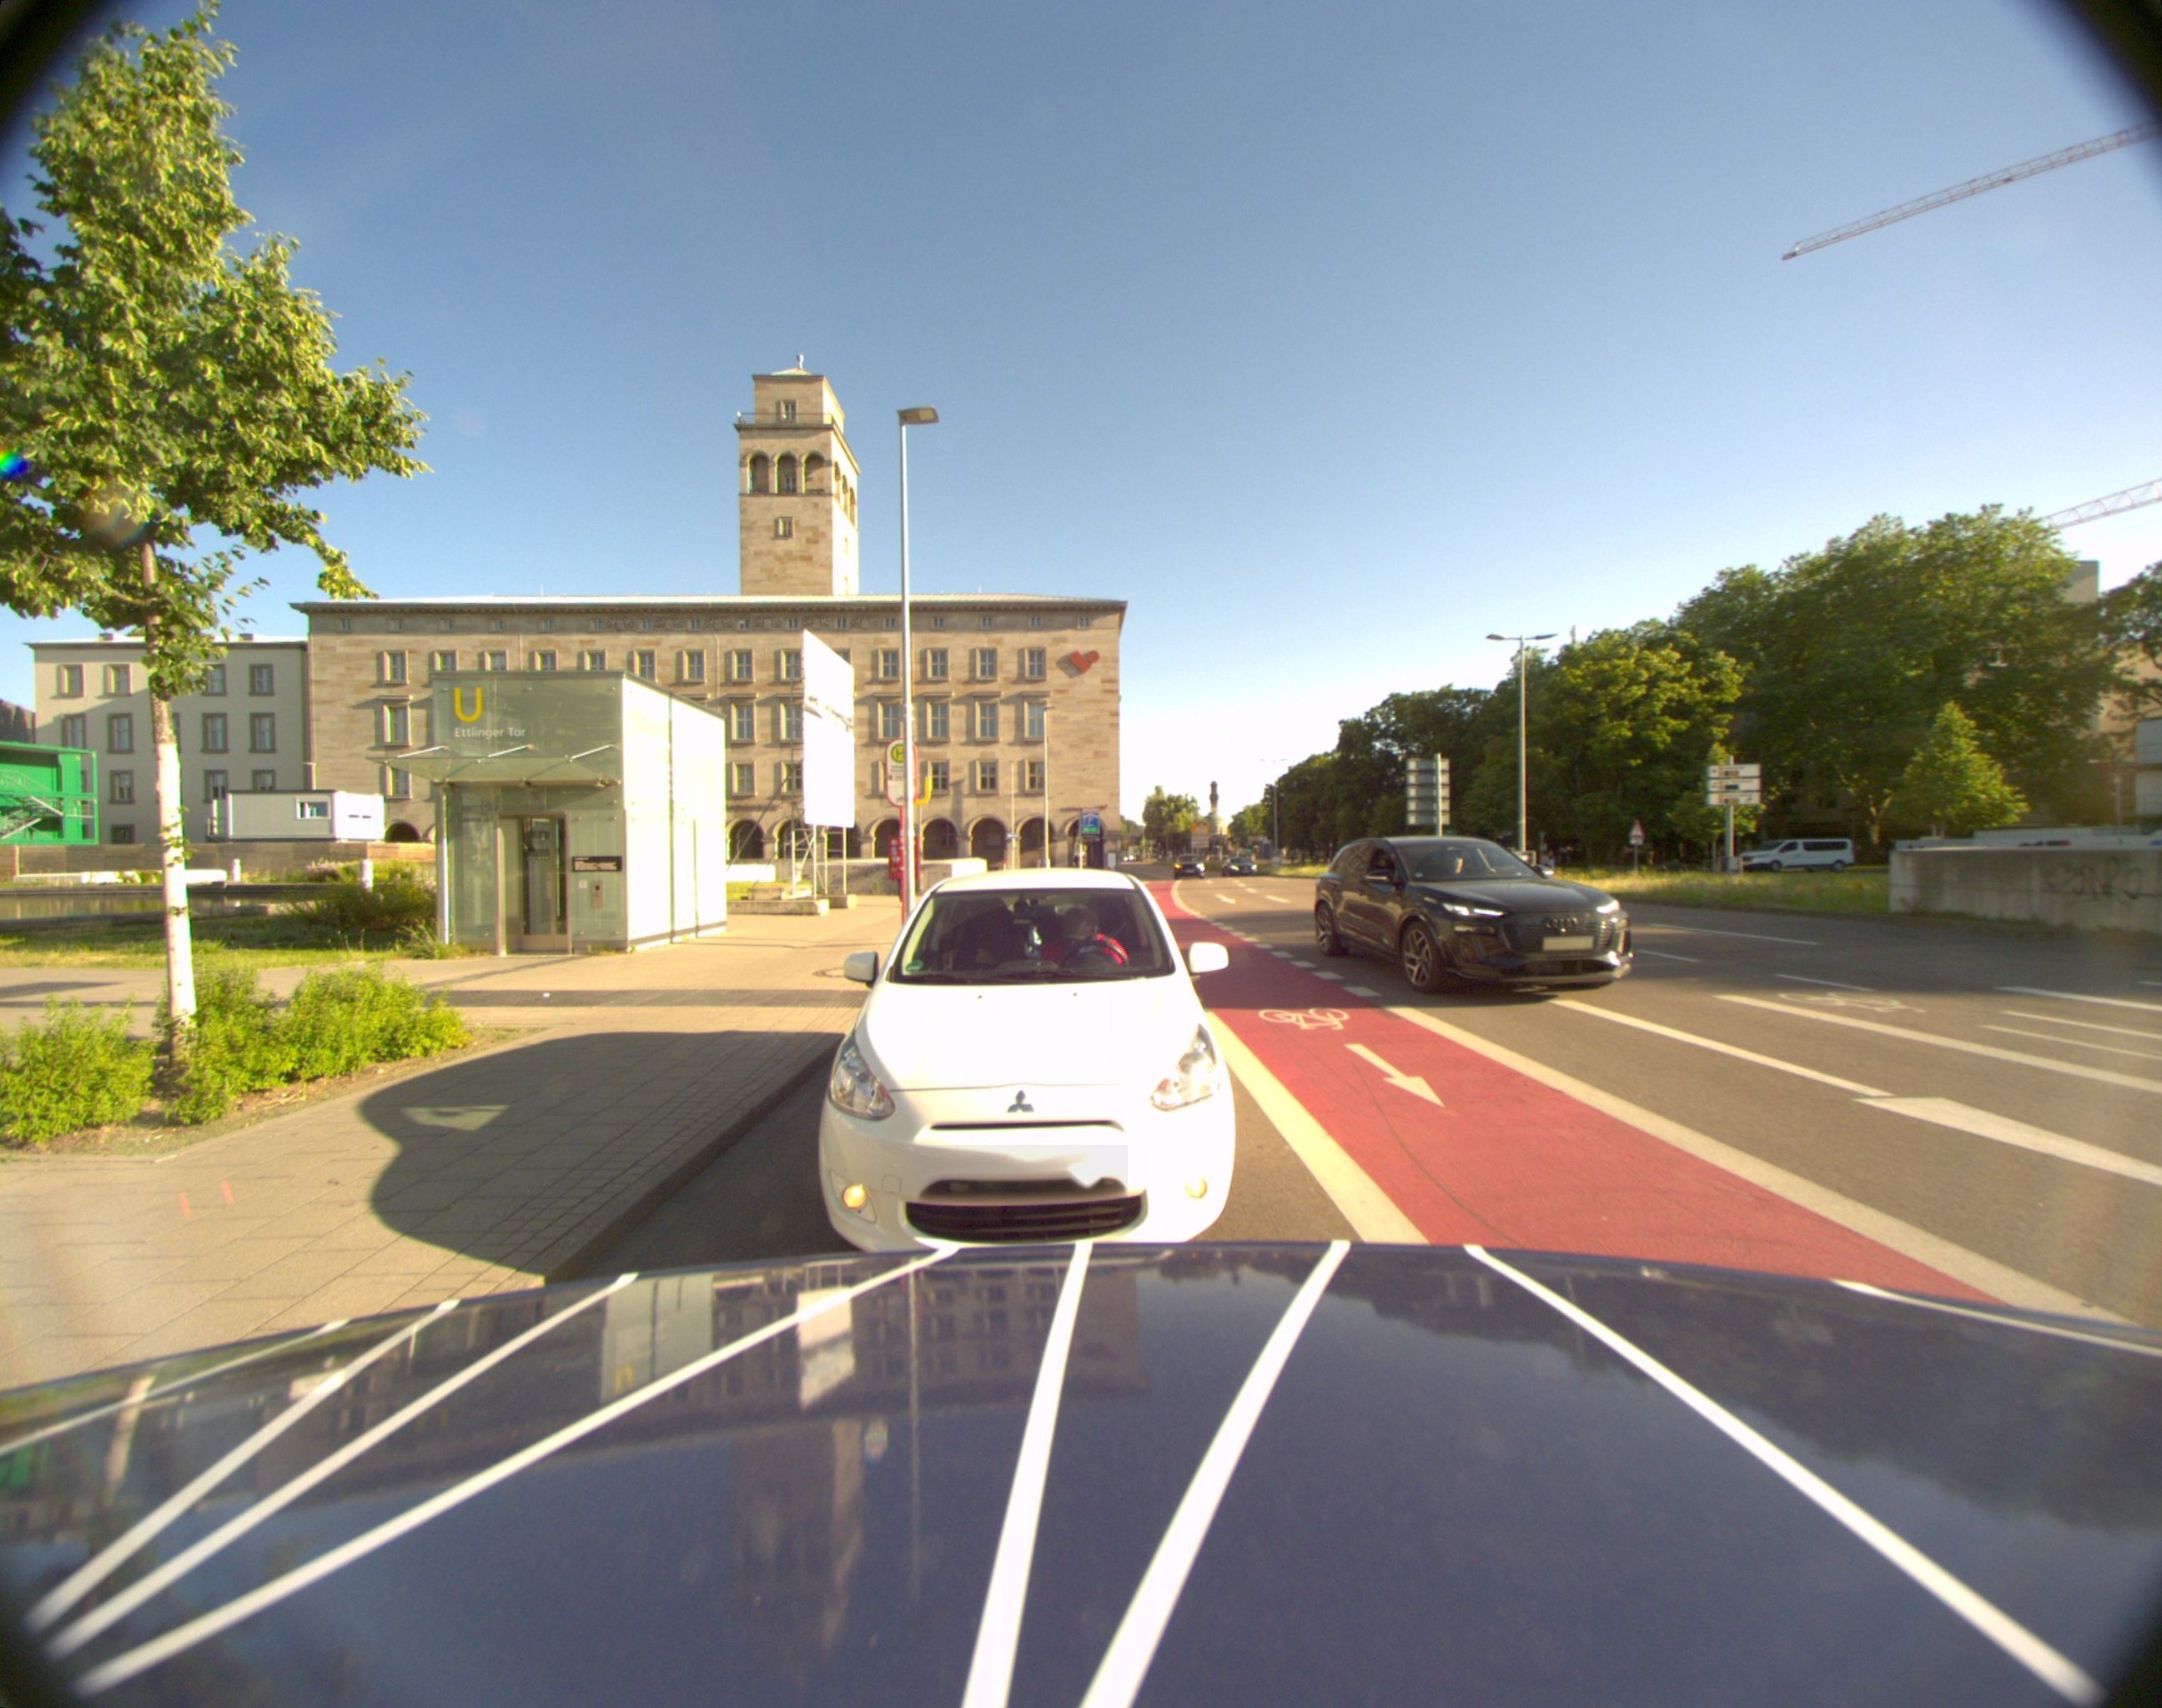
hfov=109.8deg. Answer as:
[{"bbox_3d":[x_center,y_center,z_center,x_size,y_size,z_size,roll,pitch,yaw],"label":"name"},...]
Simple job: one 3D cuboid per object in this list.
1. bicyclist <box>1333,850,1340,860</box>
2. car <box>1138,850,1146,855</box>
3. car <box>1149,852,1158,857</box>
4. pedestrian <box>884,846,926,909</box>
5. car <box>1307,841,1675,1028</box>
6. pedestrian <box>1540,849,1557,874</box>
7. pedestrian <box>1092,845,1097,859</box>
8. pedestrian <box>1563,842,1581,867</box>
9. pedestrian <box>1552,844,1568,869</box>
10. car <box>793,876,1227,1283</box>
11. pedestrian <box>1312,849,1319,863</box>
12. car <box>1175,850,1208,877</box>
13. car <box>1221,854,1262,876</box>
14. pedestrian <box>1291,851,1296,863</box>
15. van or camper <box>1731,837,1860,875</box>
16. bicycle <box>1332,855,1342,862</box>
[{"bbox_3d":[32.366,0.156,96.152,0.610,1.274,0.715,-1,1,-1],"label":"bicyclist"},{"bbox_3d":[17.938,-0.364,223.633,1.873,1.390,3.999,-1,0,-2],"label":"car"},{"bbox_3d":[18.458,0.165,193.019,1.872,1.390,3.999,-1,0,0],"label":"car"},{"bbox_3d":[-5.179,0.678,22.460,0.942,1.776,1.072,1,1,1],"label":"pedestrian"},{"bbox_3d":[4.333,0.711,9.068,1.937,1.634,4.616,-1,0,1],"label":"car"},{"bbox_3d":[32.609,0.539,52.986,0.707,1.715,0.762,-1,1,1],"label":"pedestrian"},{"bbox_3d":[1.761,-0.263,100.027,0.704,1.843,0.828,-1,1,0],"label":"pedestrian"},{"bbox_3d":[34.199,0.002,52.915,0.707,1.715,0.762,-1,1,-2],"label":"pedestrian"},{"bbox_3d":[33.406,0.147,52.976,0.665,1.715,0.762,-1,1,1],"label":"pedestrian"},{"bbox_3d":[-0.288,0.960,4.983,1.678,1.440,3.888,-2,0,0],"label":"car"},{"bbox_3d":[31.982,0.249,103.775,0.628,1.837,0.925,-1,1,-1],"label":"pedestrian"},{"bbox_3d":[7.248,0.573,50.295,1.997,1.709,4.328,-1,0,6],"label":"car"},{"bbox_3d":[11.276,0.738,53.586,1.998,1.398,4.489,-2,0,2],"label":"car"},{"bbox_3d":[32.488,0.411,116.203,0.568,1.837,0.734,-1,1,-1],"label":"pedestrian"},{"bbox_3d":[42.311,0.100,45.083,5.649,2.002,1.948,-2,1,2],"label":"van or camper"},{"bbox_3d":[32.367,0.517,96.163,0.610,0.838,1.745,-1,0,-1],"label":"bicycle"}]
